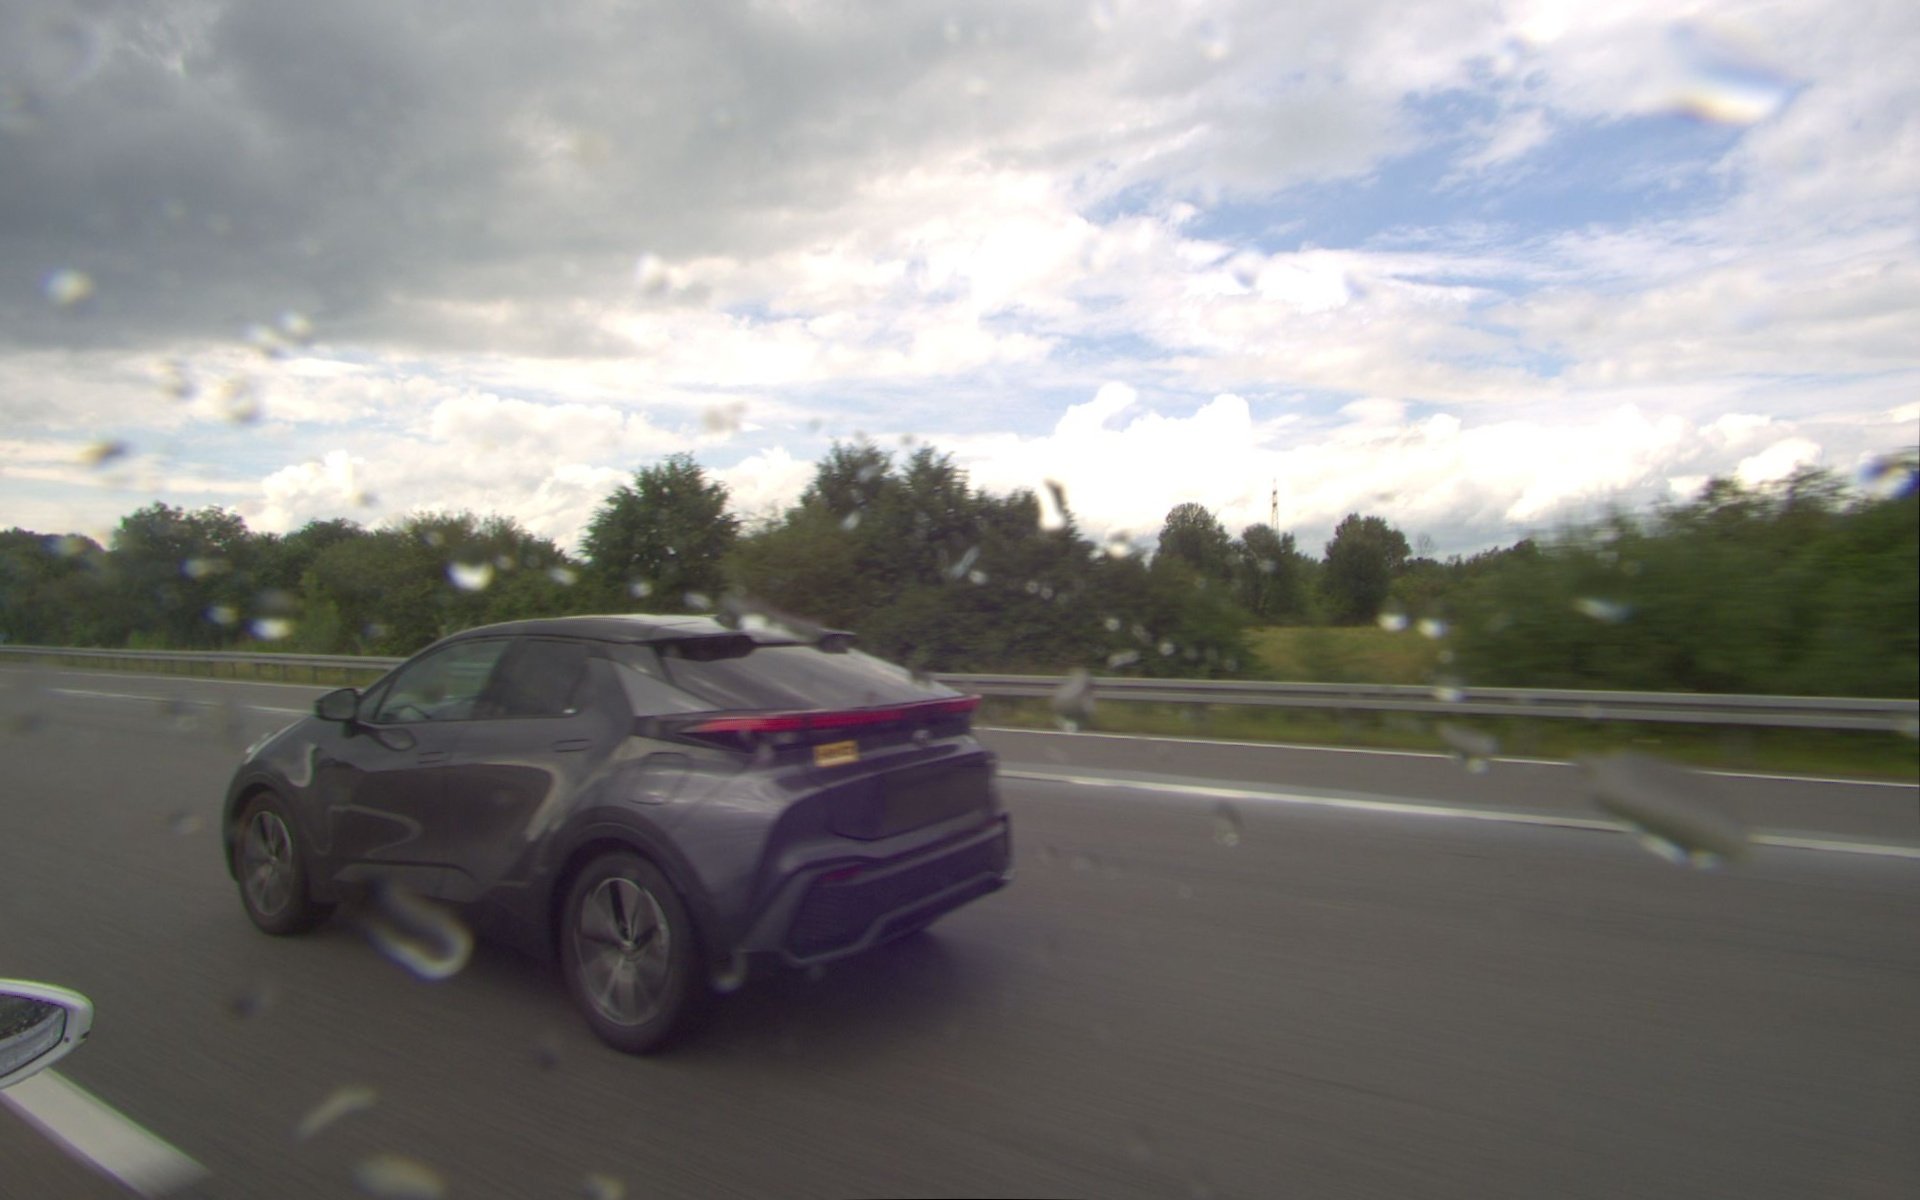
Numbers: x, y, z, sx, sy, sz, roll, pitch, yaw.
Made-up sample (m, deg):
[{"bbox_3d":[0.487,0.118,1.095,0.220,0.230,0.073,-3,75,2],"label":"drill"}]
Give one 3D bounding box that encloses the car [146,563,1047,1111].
[{"bbox_3d":[-1.989,0.755,4.947,4.531,1.633,1.778,-1,-1,32],"label":"car"}]
